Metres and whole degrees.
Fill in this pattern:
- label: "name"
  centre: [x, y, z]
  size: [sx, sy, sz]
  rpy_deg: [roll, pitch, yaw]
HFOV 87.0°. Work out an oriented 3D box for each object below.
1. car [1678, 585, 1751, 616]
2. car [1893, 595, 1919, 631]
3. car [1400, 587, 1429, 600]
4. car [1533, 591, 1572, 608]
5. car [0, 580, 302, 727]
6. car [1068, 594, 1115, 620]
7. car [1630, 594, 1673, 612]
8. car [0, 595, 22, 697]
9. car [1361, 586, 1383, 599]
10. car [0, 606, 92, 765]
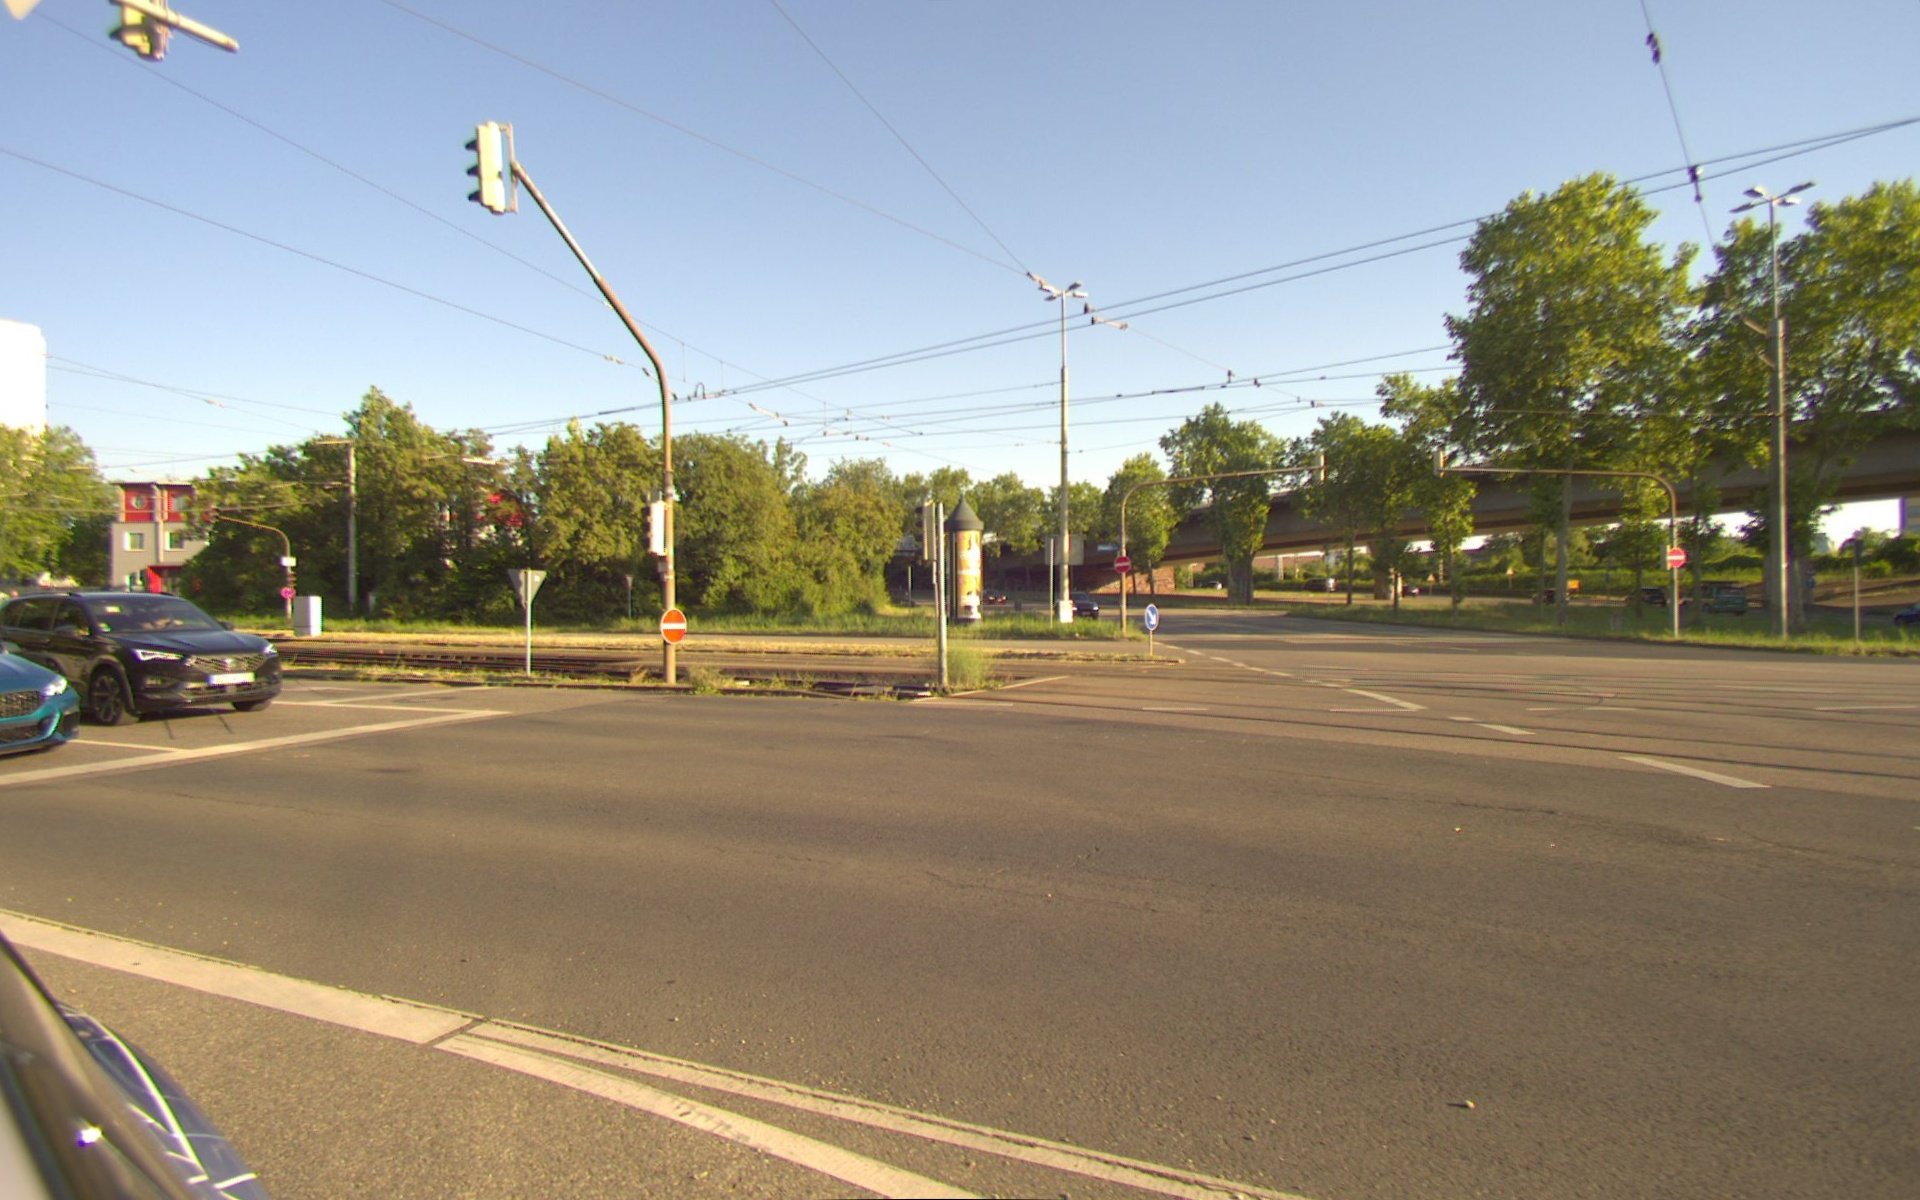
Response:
- label: "car"
  centre: [47.506, 0.026, 63.836]
  size: [1.980, 1.920, 4.685]
  rpy_deg: [0, 0, 13]
- label: "car"
  centre: [43.050, 0.564, 44.015]
  size: [1.981, 1.570, 3.917]
  rpy_deg: [0, 0, 14]
- label: "car"
  centre: [52.713, -0.754, 117.555]
  size: [1.978, 1.465, 4.521]
  rpy_deg: [-1, 0, 10]
- label: "car"
  centre: [52.887, -0.043, 90.405]
  size: [1.678, 1.433, 3.723]
  rpy_deg: [0, 0, 9]
- label: "car"
  centre: [-11.221, 0.623, 13.484]
  size: [4.572, 1.694, 1.907]
  rpy_deg: [0, 0, 23]
- label: "car"
  centre: [7.993, 0.459, 62.048]
  size: [1.969, 1.497, 4.005]
  rpy_deg: [-1, -1, -6]
- label: "car"
  centre: [54.769, 0.239, 80.212]
  size: [1.681, 1.433, 3.715]
  rpy_deg: [0, 0, 16]
- label: "car"
  centre: [-18.040, 0.766, 16.954]
  size: [4.577, 1.661, 1.905]
  rpy_deg: [0, 0, 26]
- label: "car"
  centre: [53.248, -0.999, 130.916]
  size: [1.980, 1.635, 4.516]
  rpy_deg: [0, 2, 13]
- label: "car"
  centre: [-10.783, 0.785, 9.773]
  size: [4.481, 1.428, 1.777]
  rpy_deg: [0, 0, 22]
